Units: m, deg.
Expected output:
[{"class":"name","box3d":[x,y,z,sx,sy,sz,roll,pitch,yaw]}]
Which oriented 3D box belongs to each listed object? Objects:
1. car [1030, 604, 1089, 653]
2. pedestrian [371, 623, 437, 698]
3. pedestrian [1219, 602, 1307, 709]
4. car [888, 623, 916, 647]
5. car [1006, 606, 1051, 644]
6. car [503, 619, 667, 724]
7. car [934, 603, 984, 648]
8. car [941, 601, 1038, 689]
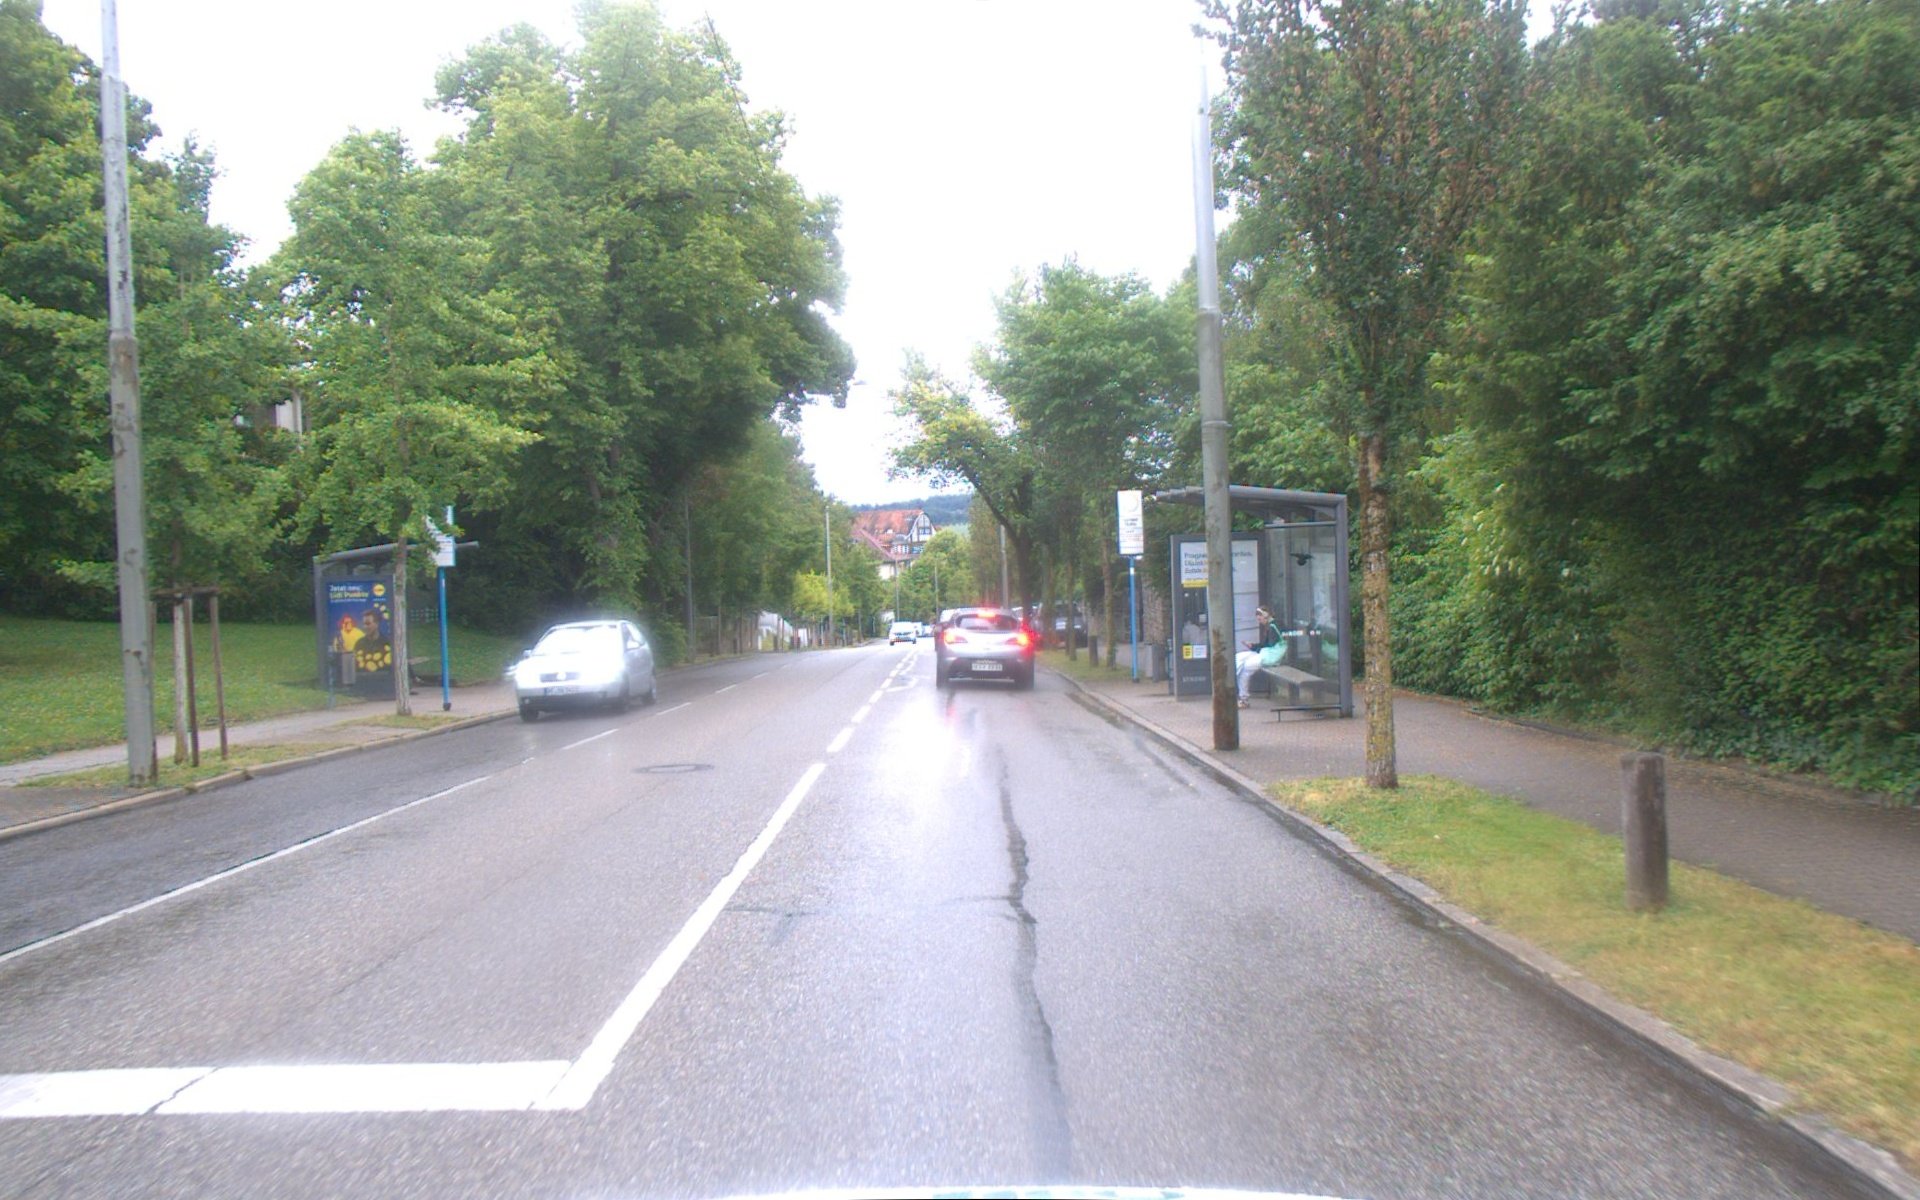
[{"class":"car","box3d":[3.287,0.913,55.192,1.686,1.489,4.000,-3,0,0]},{"class":"pedestrian","box3d":[-11.097,1.194,33.056,0.918,1.428,0.919,1,0,6]},{"class":"pedestrian","box3d":[4.083,0.736,22.371,1.051,1.379,0.919,-3,0,6]},{"class":"car","box3d":[-3.927,2.377,112.440,1.686,1.489,4.000,2,0,0]},{"class":"car","box3d":[2.879,1.047,70.345,1.686,1.489,4.000,-3,0,0]},{"class":"car","box3d":[-5.893,1.077,26.430,1.686,1.423,3.999,-3,0,0]},{"class":"car","box3d":[-0.038,0.917,58.420,1.718,1.490,3.999,1,-2,0]},{"class":"car","box3d":[0.531,0.801,31.468,1.718,1.489,4.000,1,1,0]}]
